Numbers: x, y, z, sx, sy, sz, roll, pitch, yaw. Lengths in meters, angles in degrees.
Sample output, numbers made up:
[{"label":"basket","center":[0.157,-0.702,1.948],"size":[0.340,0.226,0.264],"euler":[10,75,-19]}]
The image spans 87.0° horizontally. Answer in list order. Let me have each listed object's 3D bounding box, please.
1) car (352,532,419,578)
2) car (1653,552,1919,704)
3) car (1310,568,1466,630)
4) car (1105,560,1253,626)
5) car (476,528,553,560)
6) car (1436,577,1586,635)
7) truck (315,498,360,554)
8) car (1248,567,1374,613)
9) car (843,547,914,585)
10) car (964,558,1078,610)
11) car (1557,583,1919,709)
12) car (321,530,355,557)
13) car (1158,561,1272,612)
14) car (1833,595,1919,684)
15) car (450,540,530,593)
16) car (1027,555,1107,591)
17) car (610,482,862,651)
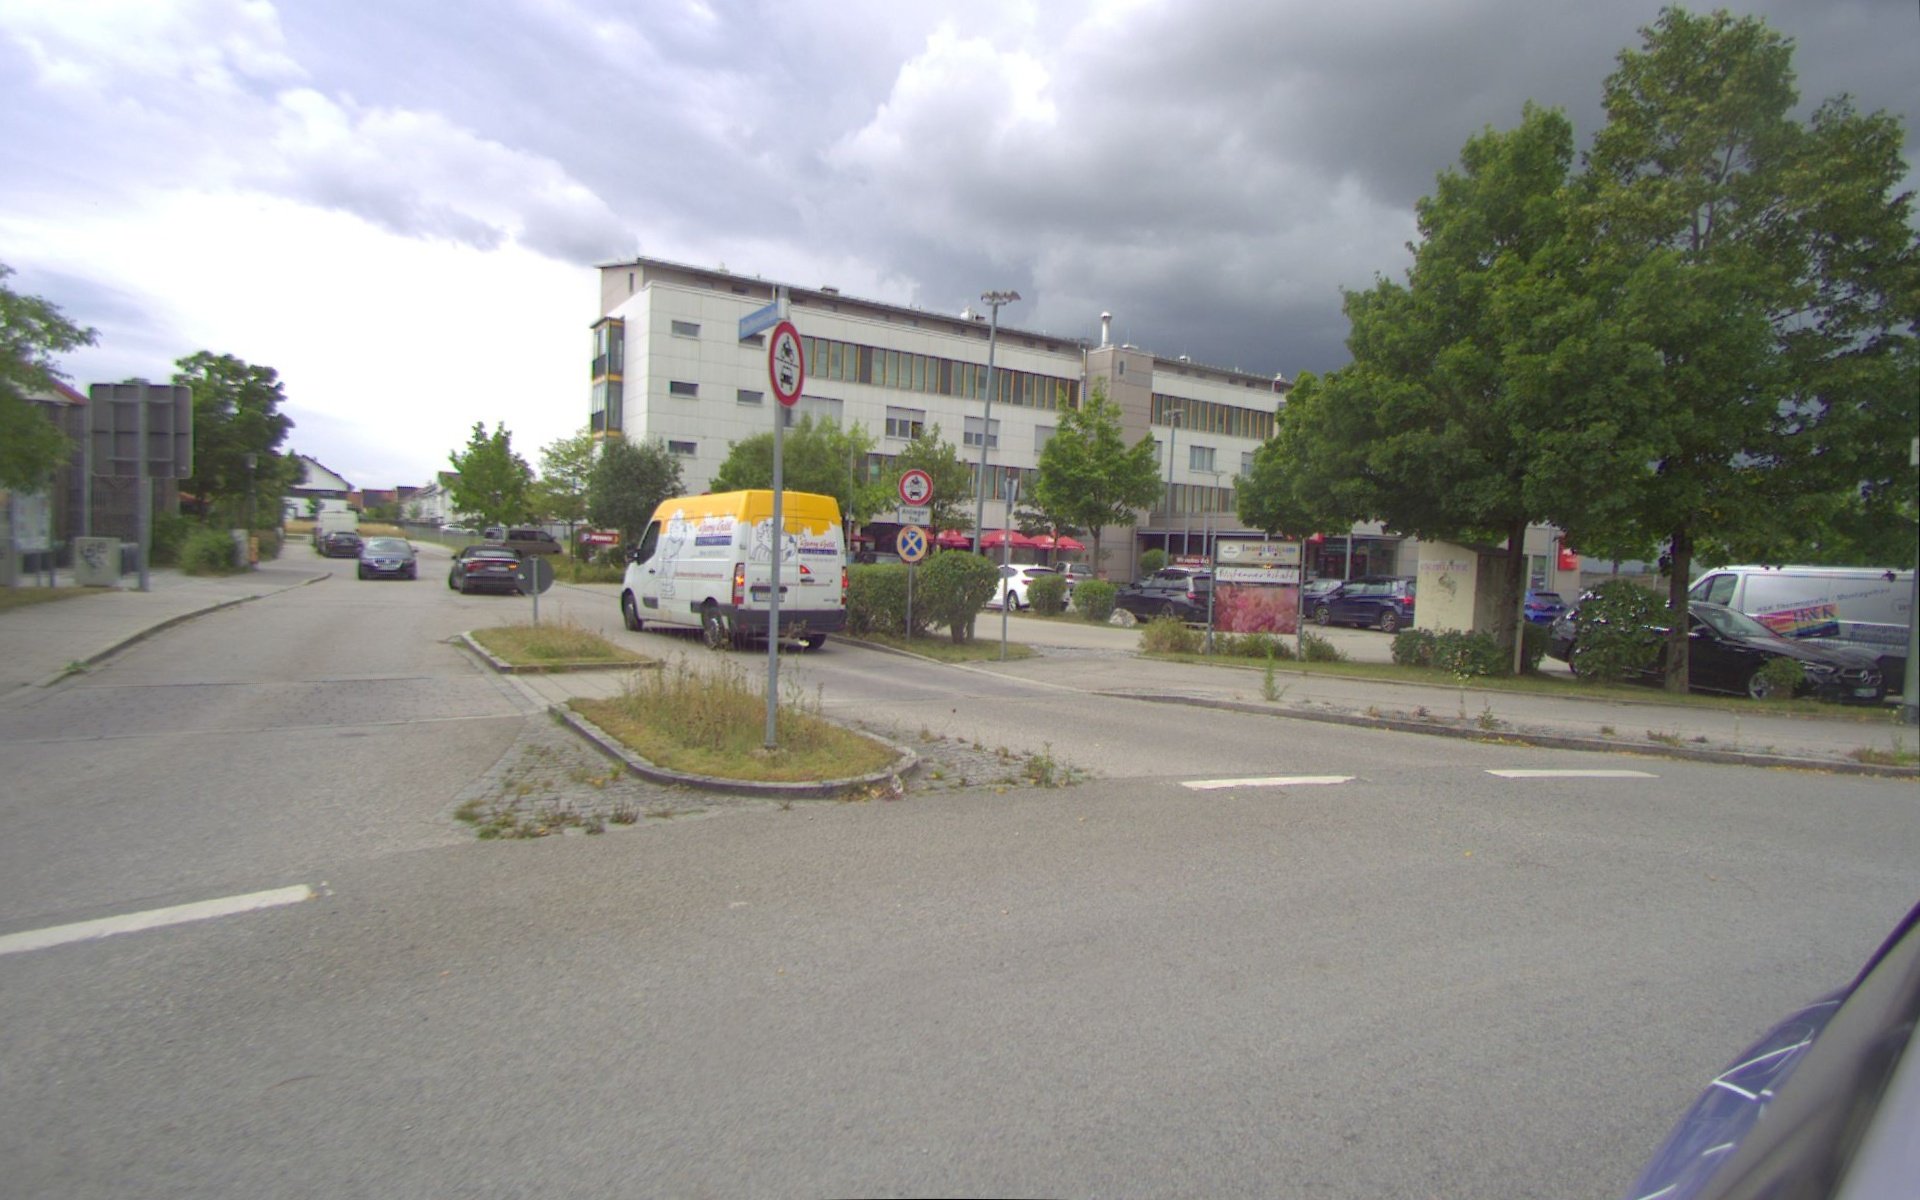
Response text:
[{"label":"car","center":[-20.540,-1.633,36.329],"size":[1.764,1.481,4.009],"euler":[1,3,-25]},{"label":"car","center":[14.766,0.376,17.173],"size":[2.111,2.184,4.428],"euler":[2,3,-20]},{"label":"car","center":[12.159,-0.078,29.039],"size":[1.783,1.561,4.010],"euler":[1,2,-22]},{"label":"car","center":[5.592,-0.226,26.368],"size":[1.783,1.474,4.010],"euler":[1,3,-22]},{"label":"car","center":[-25.482,-3.168,58.026],"size":[1.638,1.753,3.966],"euler":[2,3,25]},{"label":"car","center":[16.700,0.139,30.889],"size":[1.624,1.522,3.802],"euler":[1,2,-22]},{"label":"truck","center":[-37.019,-4.344,60.118],"size":[2.127,3.114,5.416],"euler":[1,2,-33]},{"label":"car","center":[12.622,-0.382,36.624],"size":[1.745,1.558,4.089],"euler":[1,0,-34]},{"label":"car","center":[-3.601,-1.520,44.051],"size":[1.784,1.474,4.009],"euler":[1,3,-25]},{"label":"car","center":[1.812,-0.530,31.290],"size":[1.784,1.475,4.008],"euler":[1,1,-25]},{"label":"car","center":[12.274,0.627,16.293],"size":[1.725,1.511,4.428],"euler":[2,3,-20]},{"label":"car","center":[-33.378,-3.043,54.288],"size":[1.512,1.396,3.515],"euler":[0,4,-32]},{"label":"car","center":[8.364,-0.435,33.583],"size":[1.835,1.530,4.096],"euler":[2,0,-16]},{"label":"car","center":[18.906,0.838,18.561],"size":[1.725,1.575,3.949],"euler":[2,3,-20]},{"label":"car","center":[-13.782,-1.009,29.584],"size":[1.765,1.347,4.007],"euler":[1,3,-30]},{"label":"car","center":[4.849,-1.271,46.442],"size":[1.784,1.474,4.009],"euler":[1,3,-25]},{"label":"car","center":[-4.104,-0.635,17.652],"size":[2.129,2.482,5.441],"euler":[1,3,-38]}]
